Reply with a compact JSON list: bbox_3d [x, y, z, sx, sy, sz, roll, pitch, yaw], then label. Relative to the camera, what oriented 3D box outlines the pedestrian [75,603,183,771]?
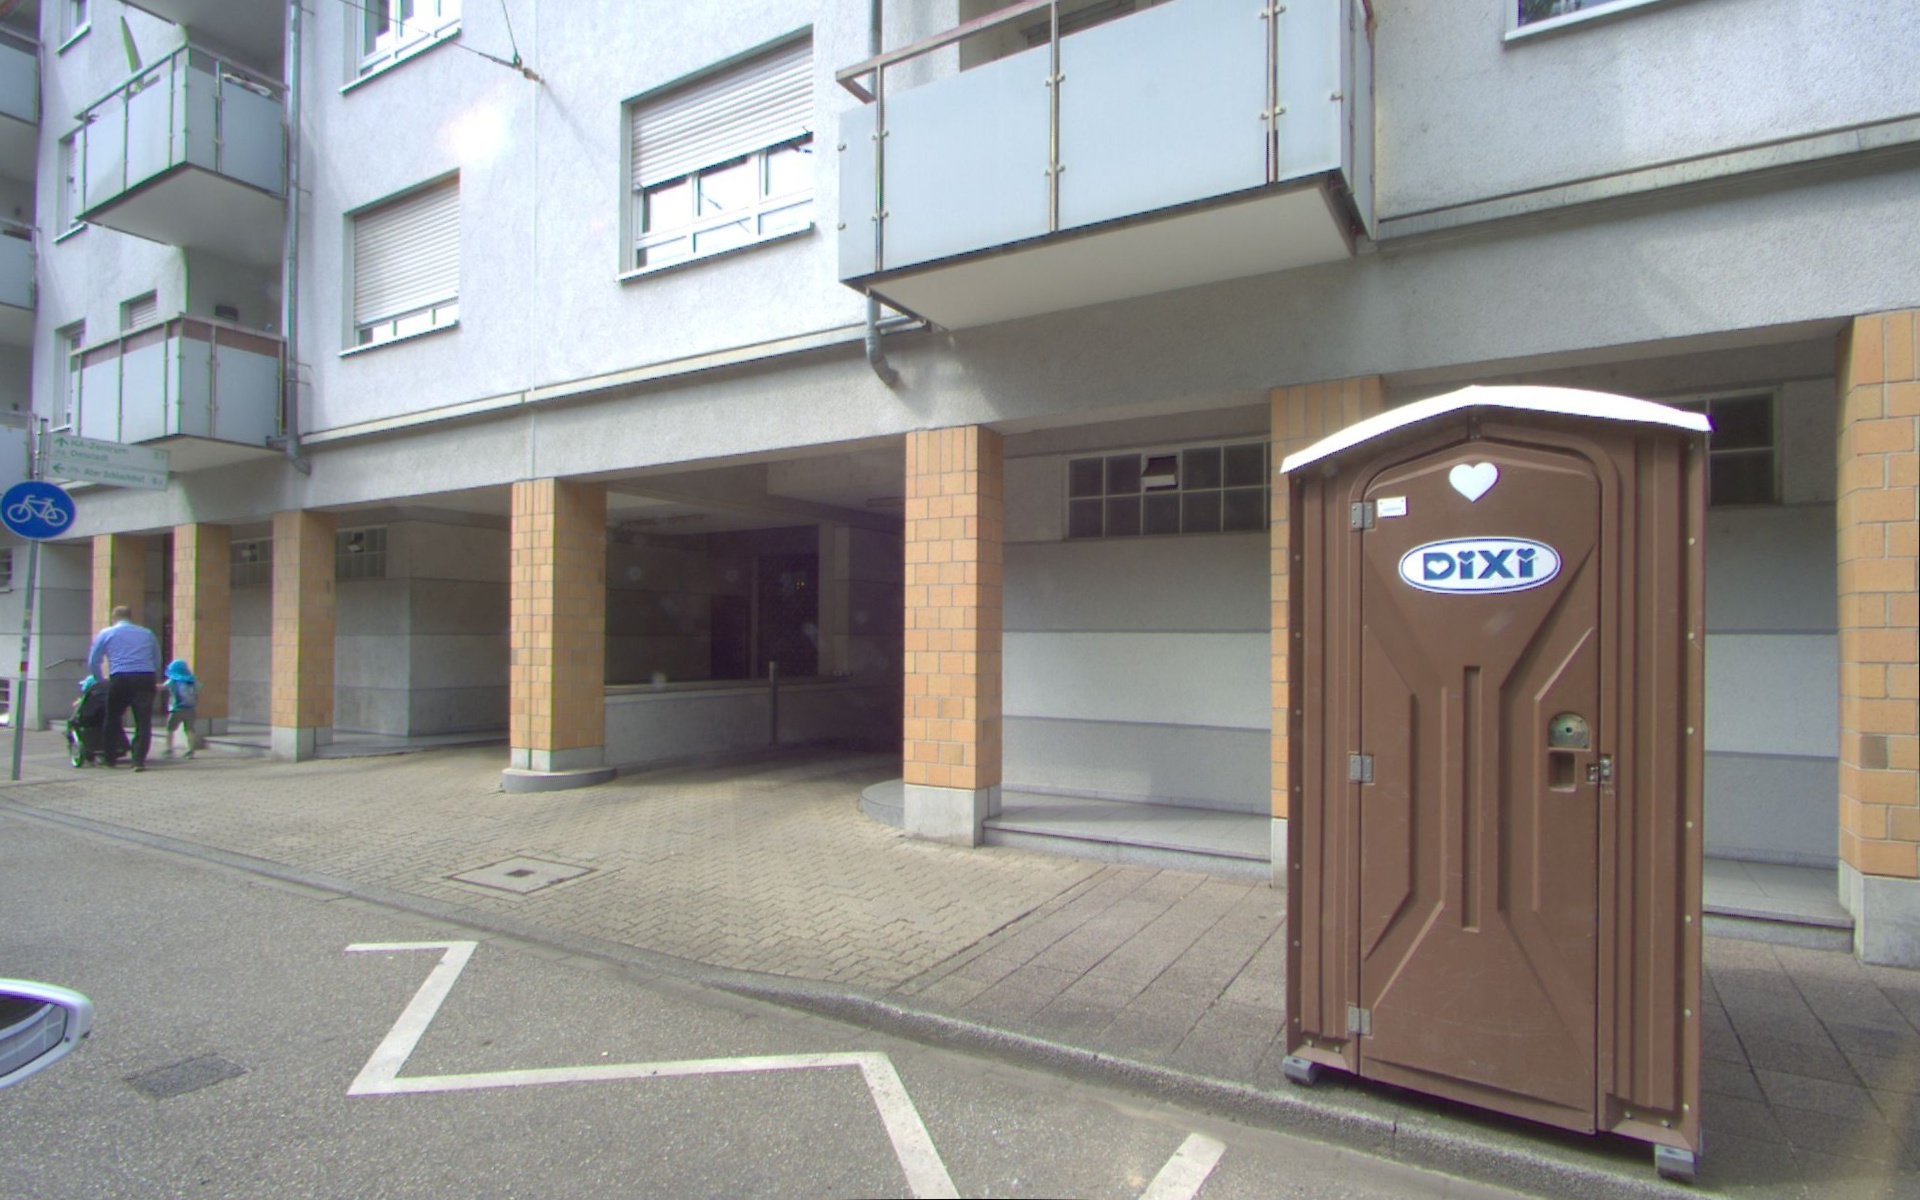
[{"bbox_3d":[-9.180,0.930,11.063,0.865,1.762,0.619,0,2,32],"label":"pedestrian"}]

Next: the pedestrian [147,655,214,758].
[{"bbox_3d":[-9.214,1.242,11.845,0.487,1.150,0.455,0,1,32],"label":"pedestrian"}]

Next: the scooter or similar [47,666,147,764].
[{"bbox_3d":[-9.901,1.294,11.490,0.893,1.016,0.591,-1,2,32],"label":"scooter or similar"}]
